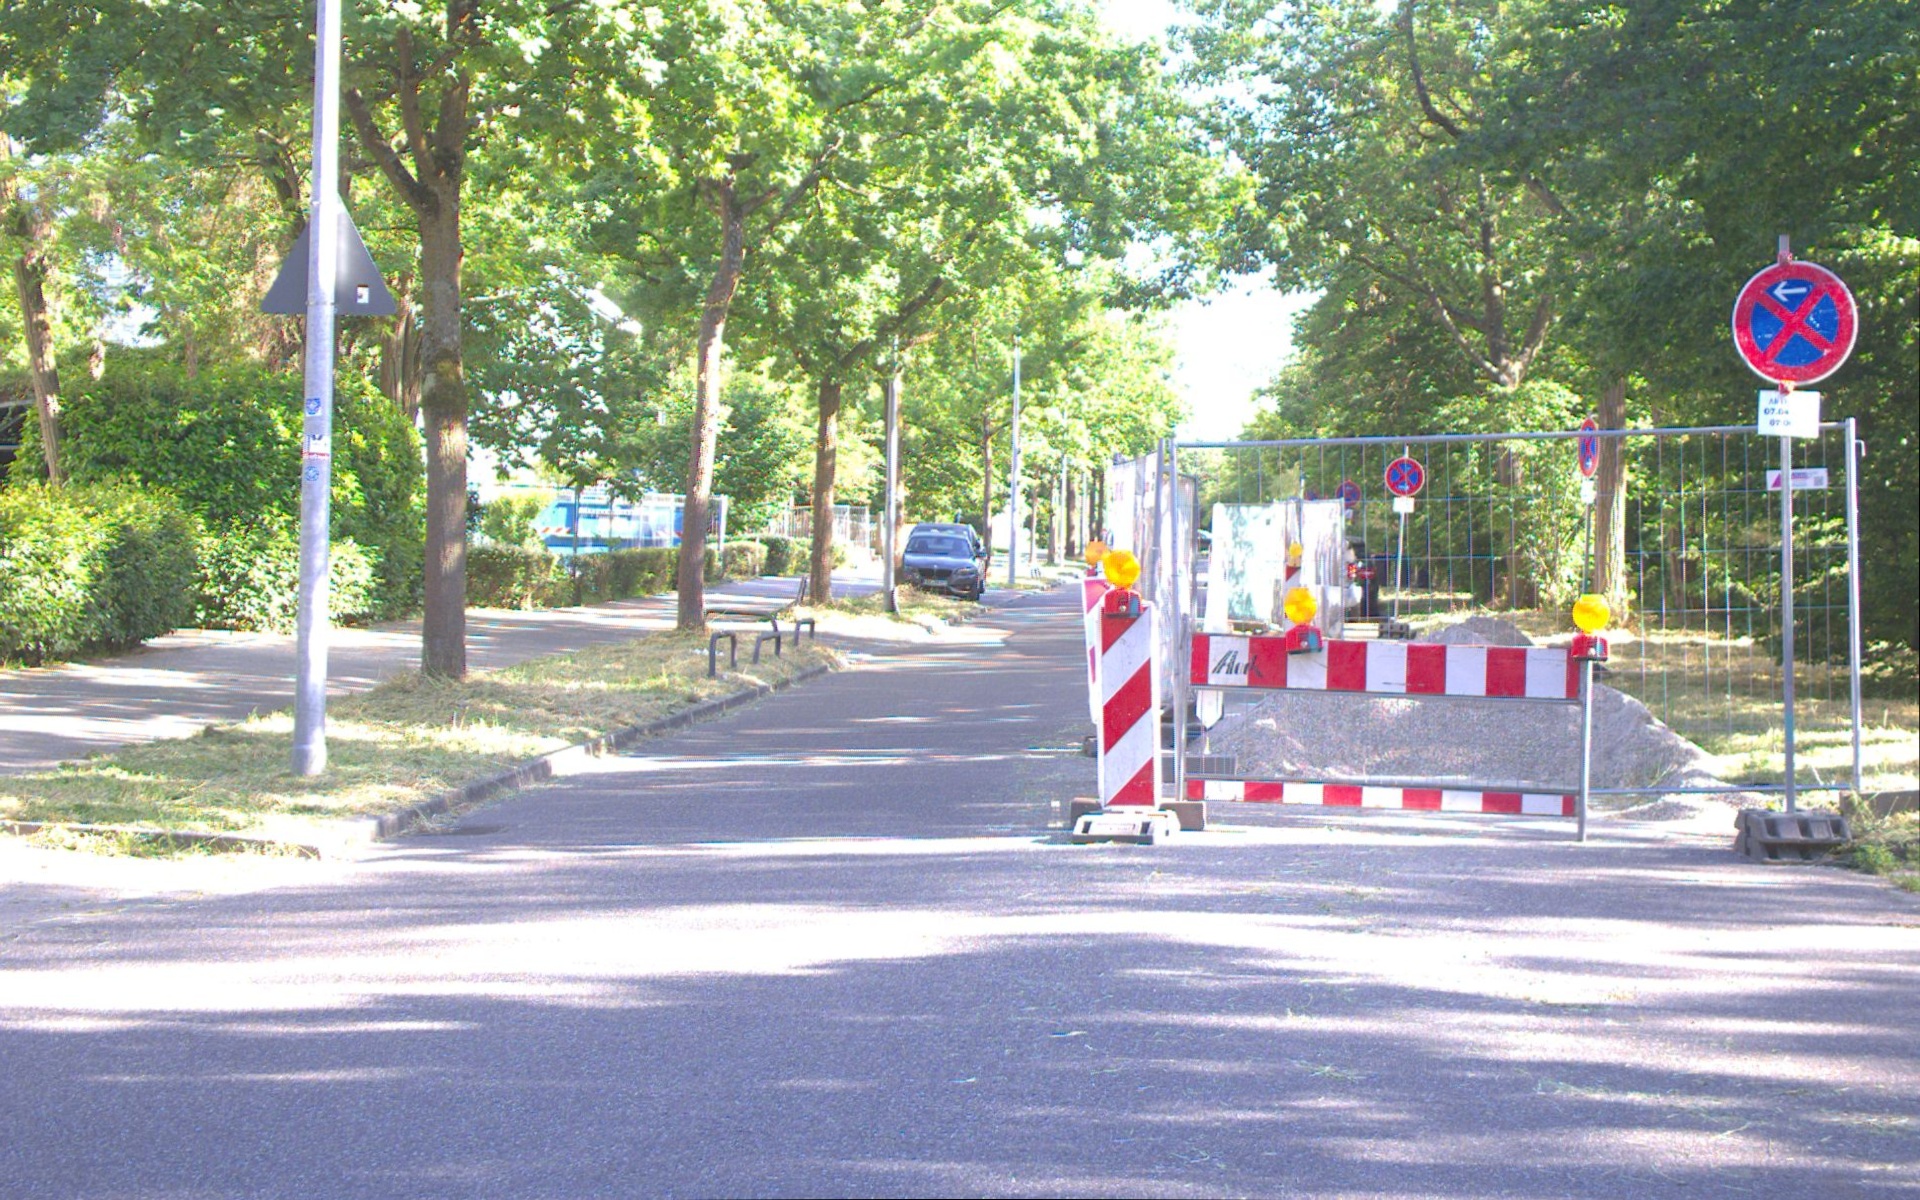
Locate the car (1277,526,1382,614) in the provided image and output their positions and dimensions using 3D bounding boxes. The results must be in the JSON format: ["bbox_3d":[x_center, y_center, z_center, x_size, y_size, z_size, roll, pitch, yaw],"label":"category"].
[{"bbox_3d":[7.046,-0.599,65.839,1.753,1.590,3.657,1,1,3],"label":"car"}]

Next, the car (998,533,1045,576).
[{"bbox_3d":[1.936,-1.408,107.201,1.361,1.297,3.481,2,0,2],"label":"car"}]

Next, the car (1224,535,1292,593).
[{"bbox_3d":[7.020,-0.852,81.218,1.361,1.297,3.481,2,0,2],"label":"car"}]
